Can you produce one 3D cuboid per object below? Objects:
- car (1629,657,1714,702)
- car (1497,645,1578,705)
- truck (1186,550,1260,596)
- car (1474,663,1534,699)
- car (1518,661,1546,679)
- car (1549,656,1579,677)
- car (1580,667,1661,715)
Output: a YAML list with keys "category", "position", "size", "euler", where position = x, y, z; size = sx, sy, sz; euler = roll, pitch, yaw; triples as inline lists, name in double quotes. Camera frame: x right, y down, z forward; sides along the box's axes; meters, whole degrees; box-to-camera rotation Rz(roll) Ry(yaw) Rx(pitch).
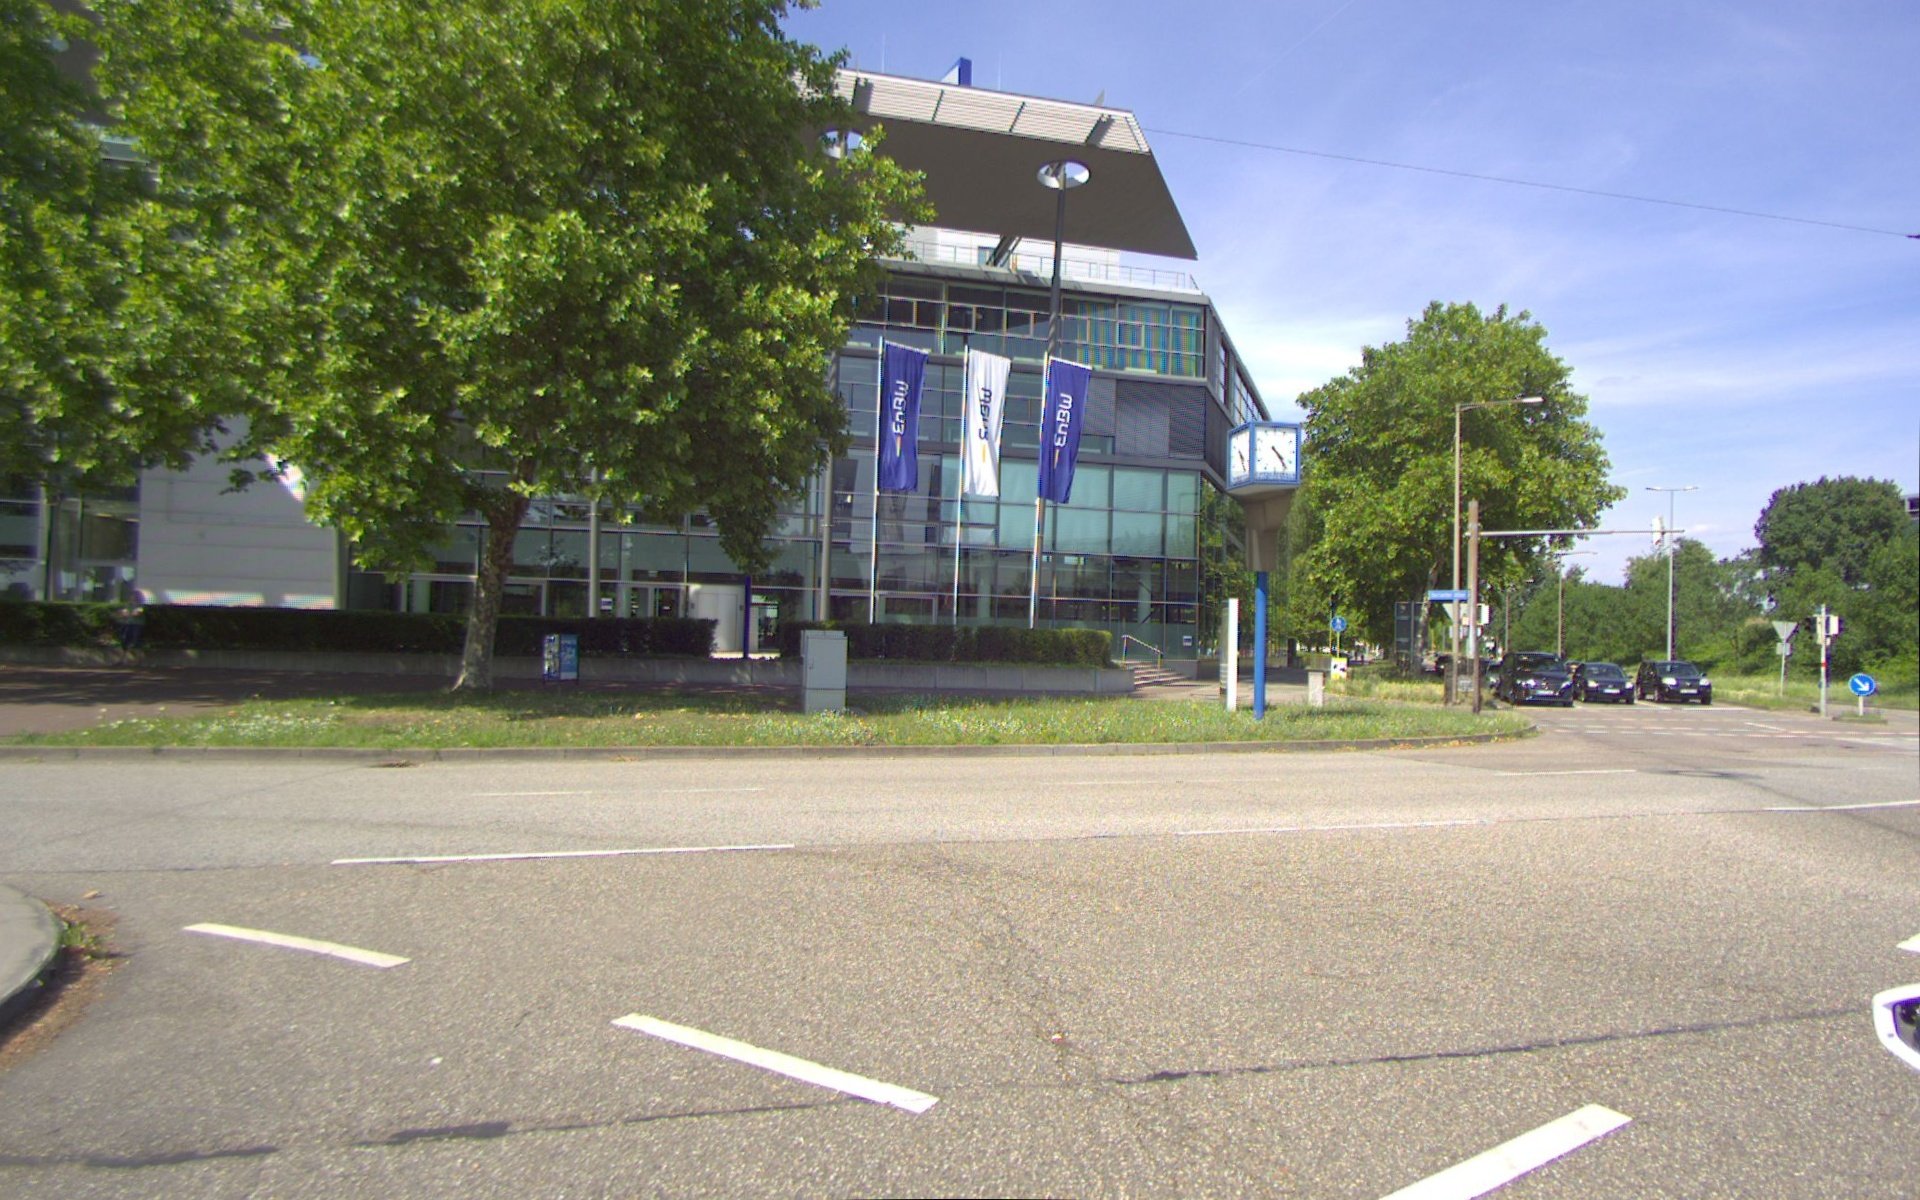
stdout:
- category: "car"
  position: [28.433, 3.133, 40.282]
  size: [1.778, 1.636, 4.491]
  euler: [1, -3, 22]
- category: "car"
  position: [21.211, 2.692, 37.075]
  size: [1.907, 1.945, 5.227]
  euler: [1, -2, 22]
- category: "truck"
  position: [23.847, -2.339, 91.600]
  size: [2.628, 3.440, 8.969]
  euler: [3, -3, -13]
- category: "car"
  position: [24.066, 3.557, 44.557]
  size: [1.861, 1.468, 5.003]
  euler: [-1, -4, 23]
- category: "car"
  position: [59.293, 7.257, 104.203]
  size: [1.961, 1.706, 3.999]
  euler: [1, -2, 22]
- category: "car"
  position: [53.773, 5.887, 89.503]
  size: [1.709, 1.556, 3.998]
  euler: [2, 0, 23]
- category: "car"
  position: [23.992, 3.264, 36.597]
  size: [1.733, 1.494, 3.957]
  euler: [1, -2, 22]
